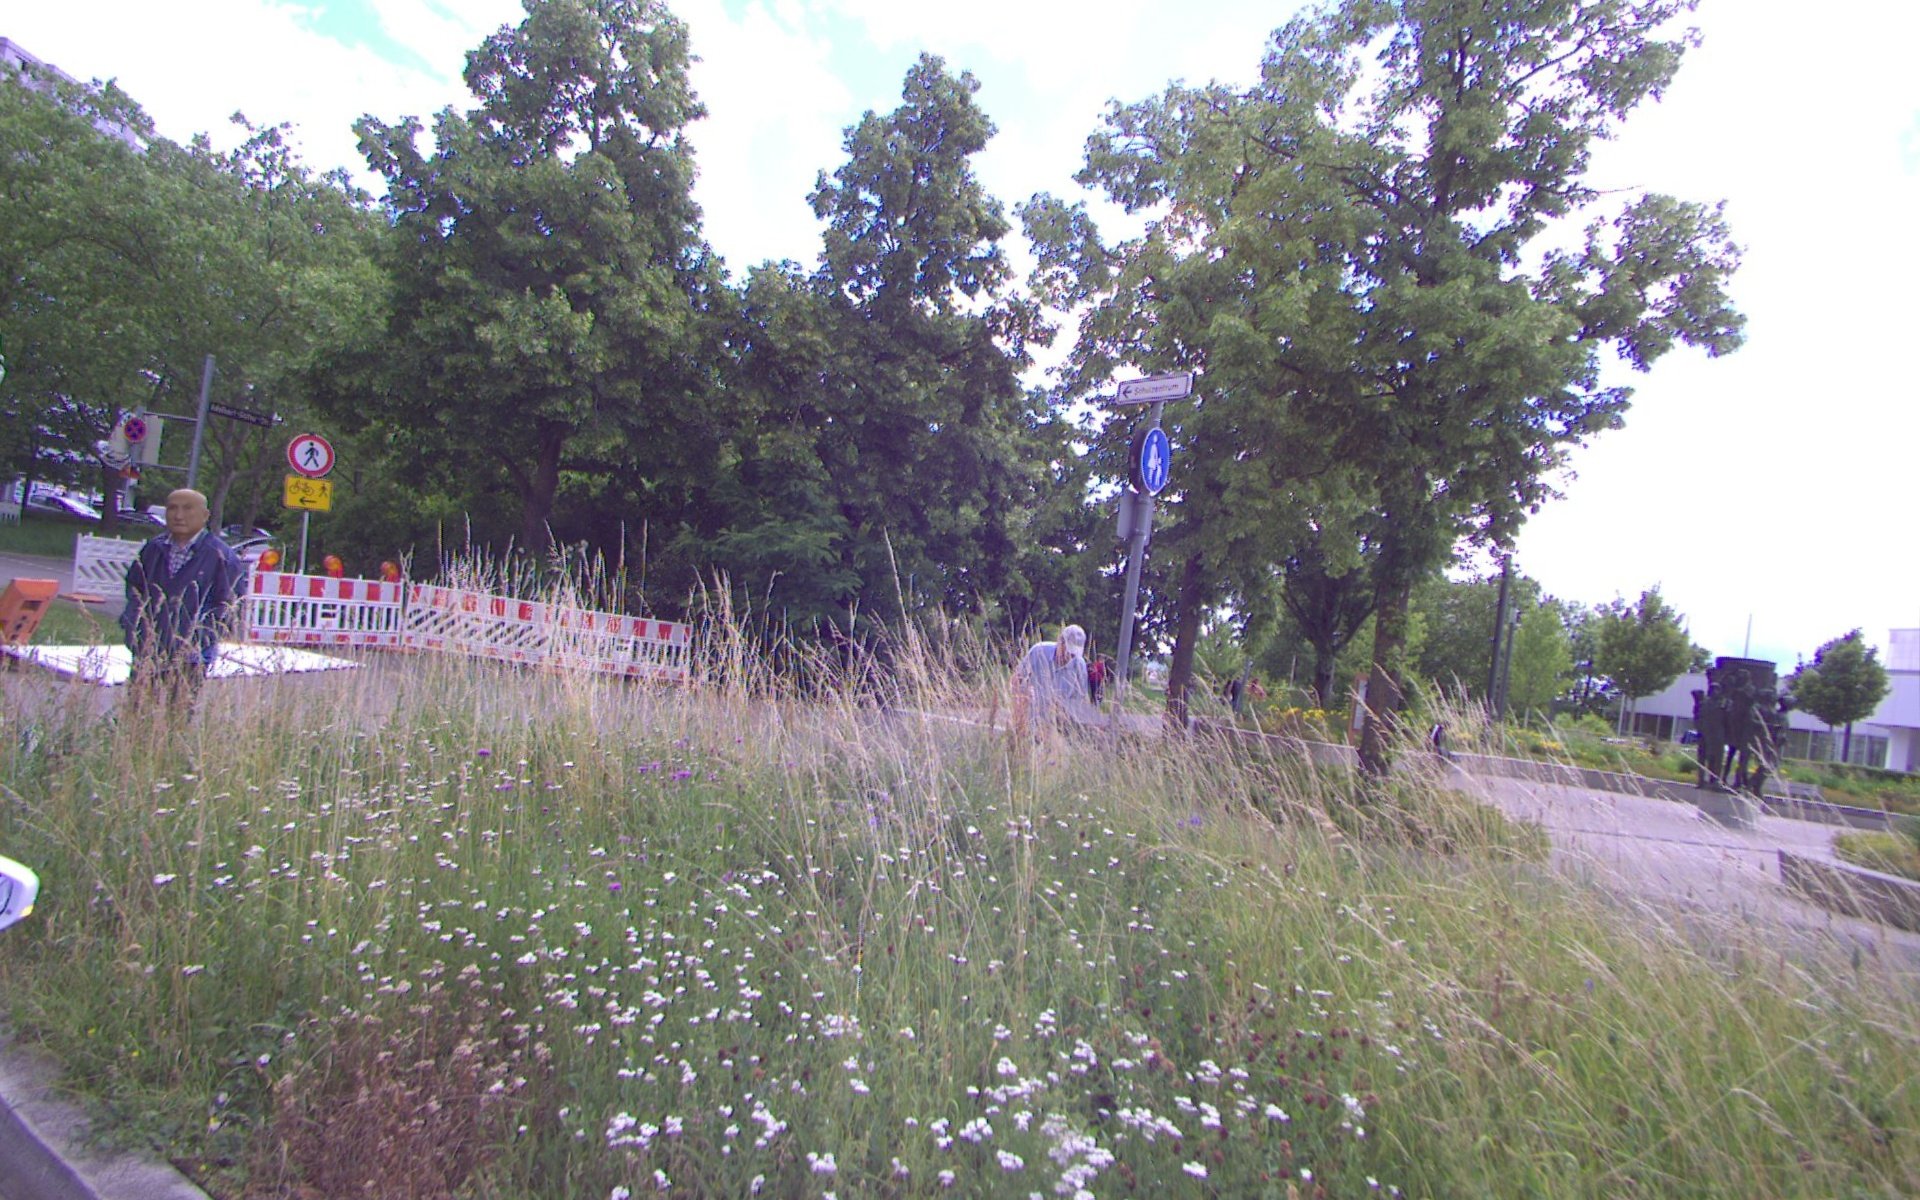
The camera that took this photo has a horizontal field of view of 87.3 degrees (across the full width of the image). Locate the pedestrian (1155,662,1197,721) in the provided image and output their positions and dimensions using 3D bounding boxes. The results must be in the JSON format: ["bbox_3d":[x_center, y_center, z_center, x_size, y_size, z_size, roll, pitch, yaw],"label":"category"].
[{"bbox_3d":[6.681,2.828,31.111,0.974,1.671,0.871,7,0,21],"label":"pedestrian"}]

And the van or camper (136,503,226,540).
[{"bbox_3d":[-43.570,-4.390,56.309,3.706,1.372,1.519,8,-2,-1],"label":"van or camper"}]

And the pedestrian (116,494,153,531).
[{"bbox_3d":[-47.461,-5.020,57.855,1.039,1.892,1.077,7,-1,14],"label":"pedestrian"}]

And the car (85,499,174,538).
[{"bbox_3d":[-43.623,-4.269,52.855,3.345,1.420,1.486,7,-2,2],"label":"car"}]

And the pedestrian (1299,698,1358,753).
[{"bbox_3d":[7.513,2.559,20.517,0.703,0.959,0.747,8,-1,-20],"label":"pedestrian"}]

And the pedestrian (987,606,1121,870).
[{"bbox_3d":[0.685,1.000,7.565,0.715,1.812,0.694,8,0,1],"label":"pedestrian"}]

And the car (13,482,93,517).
[{"bbox_3d":[-54.289,-6.011,60.253,3.345,1.420,1.486,7,-2,1],"label":"car"}]

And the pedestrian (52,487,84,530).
[{"bbox_3d":[-46.122,-4.728,52.018,0.838,2.025,0.806,7,-1,28],"label":"pedestrian"}]

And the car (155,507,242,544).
[{"bbox_3d":[-44.485,-4.355,58.813,3.820,1.482,1.486,7,-2,1],"label":"car"}]

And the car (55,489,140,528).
[{"bbox_3d":[-54.306,-5.744,63.385,3.751,1.653,1.674,9,-2,2],"label":"car"}]

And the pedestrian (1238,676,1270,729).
[{"bbox_3d":[9.124,3.179,31.190,0.624,1.519,0.704,7,-1,29],"label":"pedestrian"}]

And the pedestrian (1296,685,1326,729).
[{"bbox_3d":[14.710,4.464,42.162,0.974,1.671,0.871,7,0,21],"label":"pedestrian"}]

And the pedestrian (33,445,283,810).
[{"bbox_3d":[-4.295,0.152,5.482,0.720,1.760,0.949,8,-1,-29],"label":"pedestrian"}]

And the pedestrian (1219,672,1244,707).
[{"bbox_3d":[14.143,4.642,52.379,0.974,1.671,0.871,7,0,21],"label":"pedestrian"}]

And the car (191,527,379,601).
[{"bbox_3d":[-20.861,-1.072,31.283,1.744,1.604,4.405,6,-3,33],"label":"car"}]

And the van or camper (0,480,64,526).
[{"bbox_3d":[-44.162,-4.642,46.414,3.925,1.704,1.847,8,-1,4],"label":"van or camper"}]

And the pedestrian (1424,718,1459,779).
[{"bbox_3d":[10.999,3.383,22.989,0.560,1.277,0.582,6,-1,29],"label":"pedestrian"}]

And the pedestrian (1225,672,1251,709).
[{"bbox_3d":[13.630,4.442,49.275,0.974,1.671,0.871,7,0,21],"label":"pedestrian"}]

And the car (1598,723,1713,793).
[{"bbox_3d":[22.930,5.170,33.333,1.606,1.786,3.510,7,-2,9],"label":"car"}]

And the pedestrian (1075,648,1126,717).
[{"bbox_3d":[3.728,2.173,26.705,0.974,1.671,0.871,7,0,21],"label":"pedestrian"}]

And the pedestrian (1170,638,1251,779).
[{"bbox_3d":[3.279,1.403,13.170,0.685,1.715,0.651,7,0,29],"label":"pedestrian"}]

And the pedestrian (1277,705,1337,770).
[{"bbox_3d":[5.369,2.110,15.560,0.685,0.874,0.651,7,-1,29],"label":"pedestrian"}]
